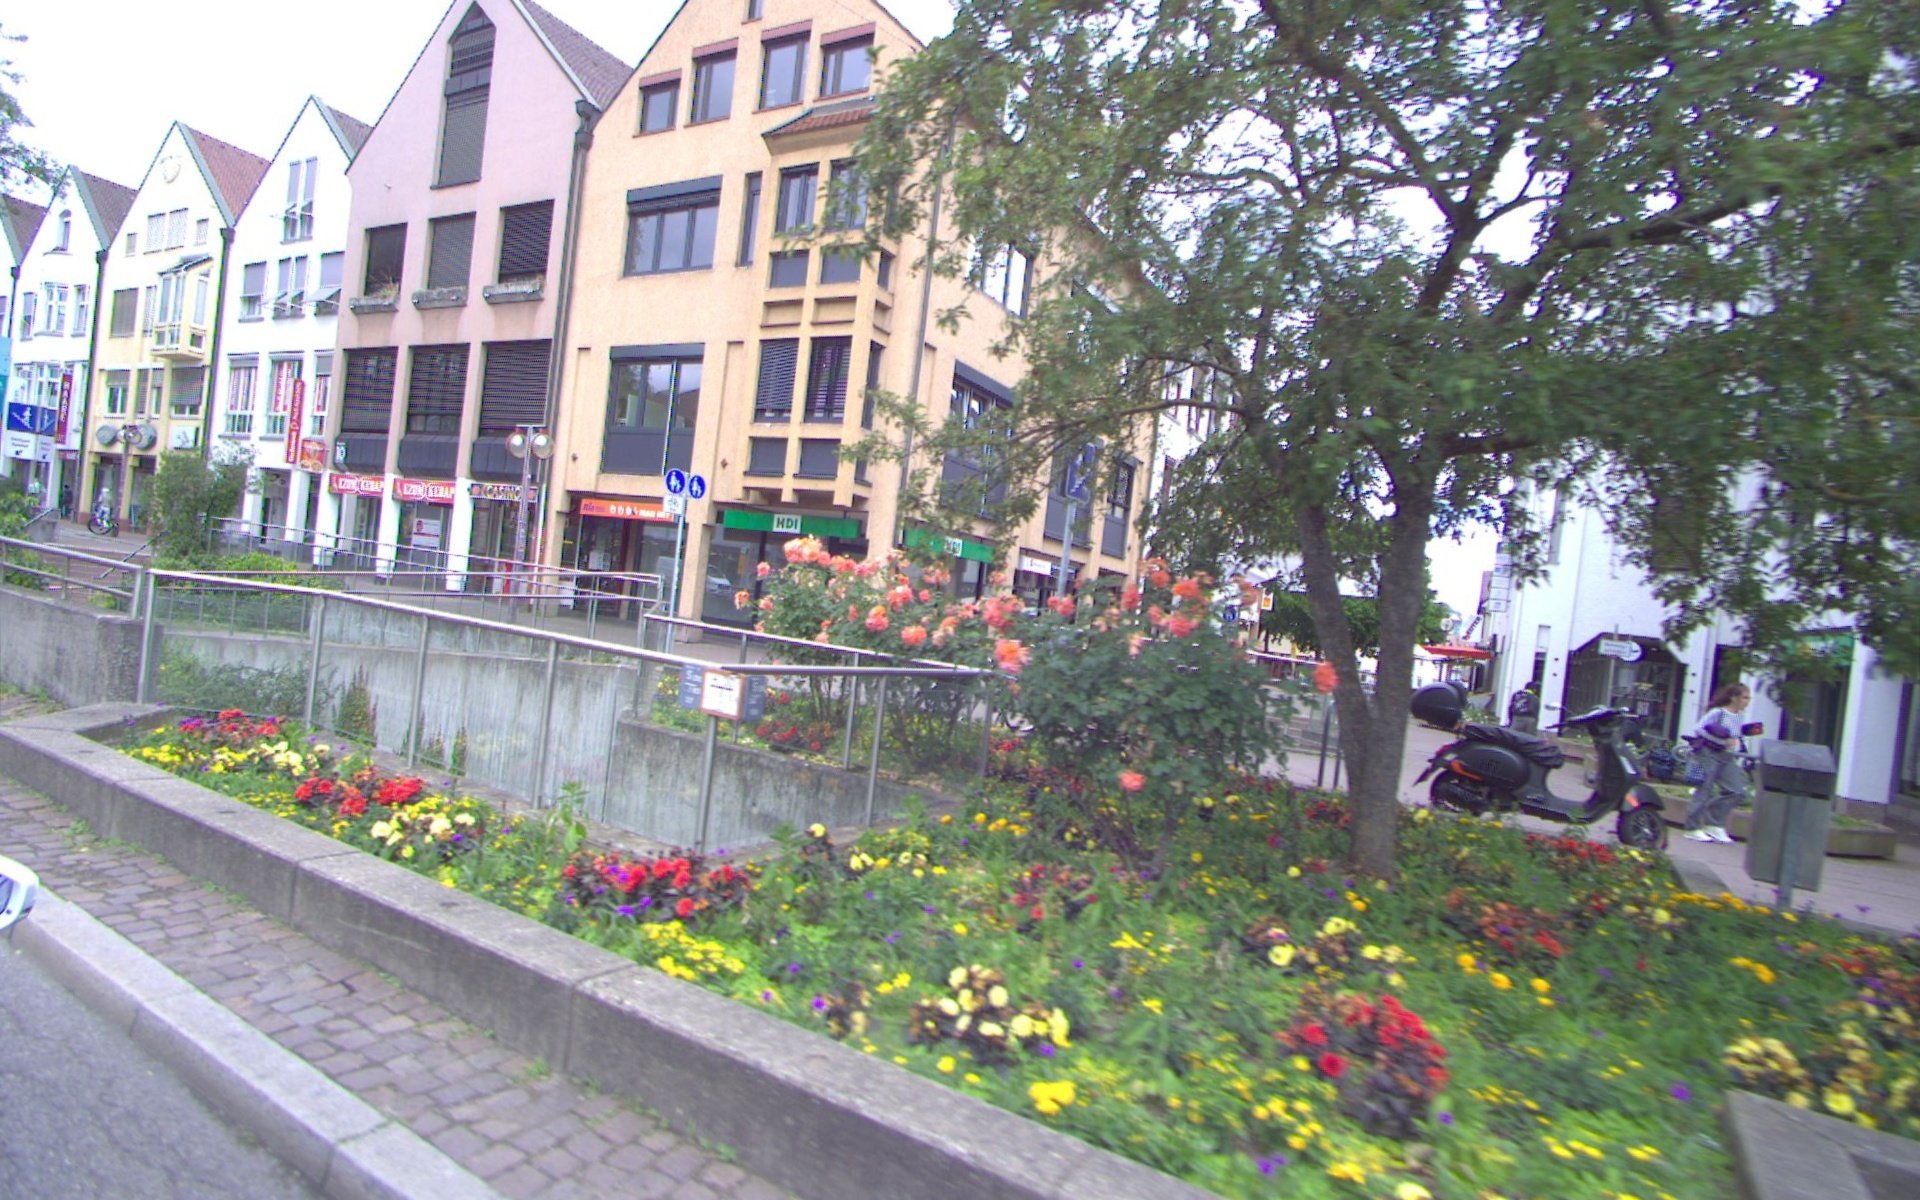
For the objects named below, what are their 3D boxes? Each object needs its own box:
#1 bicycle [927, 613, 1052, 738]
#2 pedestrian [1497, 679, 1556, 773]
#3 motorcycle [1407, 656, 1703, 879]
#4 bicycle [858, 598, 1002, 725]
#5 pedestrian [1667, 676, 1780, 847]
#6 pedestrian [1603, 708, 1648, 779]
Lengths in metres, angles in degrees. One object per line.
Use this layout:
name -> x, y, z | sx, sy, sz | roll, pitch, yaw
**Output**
bicycle -> 0.379, 0.872, 11.698 | 0.658, 1.274, 1.678 | 8, 0, 27
pedestrian -> 9.764, 2.156, 17.354 | 0.609, 1.494, 0.608 | 7, 1, 19
motorcycle -> 4.934, 1.338, 8.485 | 1.912, 1.456, 0.721 | 7, 1, 29
bicycle -> -0.318, 0.748, 12.231 | 0.828, 1.343, 1.820 | 8, 0, 27
pedestrian -> 7.798, 1.641, 10.286 | 0.611, 1.622, 0.510 | 7, 1, -20
pedestrian -> 12.427, 2.663, 18.801 | 0.504, 1.215, 0.619 | 7, 1, 29
